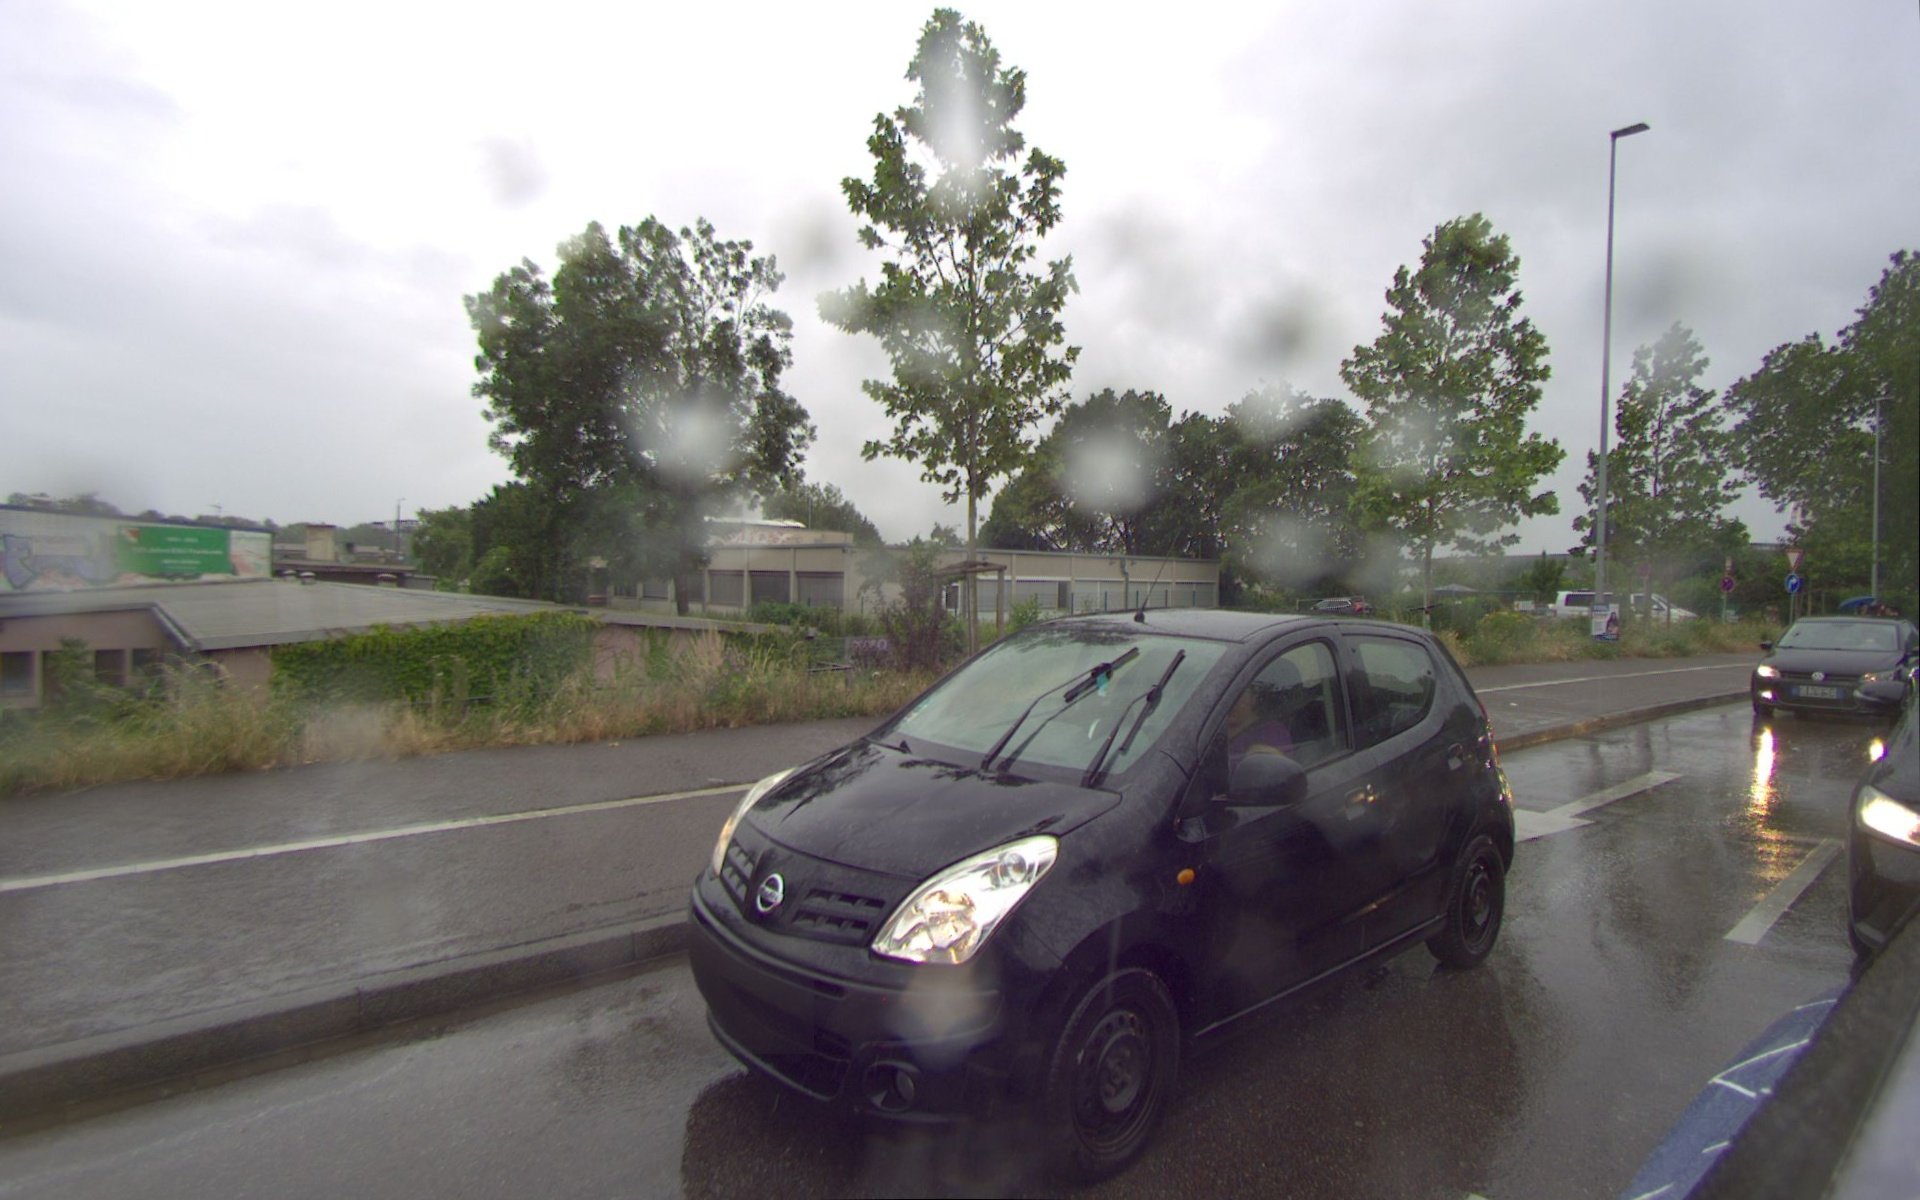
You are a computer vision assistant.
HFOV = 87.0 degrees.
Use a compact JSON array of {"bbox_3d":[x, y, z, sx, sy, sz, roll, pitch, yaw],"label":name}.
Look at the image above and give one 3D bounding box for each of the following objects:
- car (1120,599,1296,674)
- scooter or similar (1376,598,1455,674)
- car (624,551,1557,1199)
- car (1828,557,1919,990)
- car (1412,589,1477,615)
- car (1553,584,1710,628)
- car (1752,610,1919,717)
[{"bbox_3d":[4.697,0.645,19.507,1.319,1.304,3.246,0,0,-35],"label":"car"},{"bbox_3d":[7.679,0.586,17.024,1.877,1.214,0.367,0,0,-38],"label":"scooter or similar"},{"bbox_3d":[0.763,0.662,3.846,3.554,1.528,1.556,0,0,-41],"label":"car"},{"bbox_3d":[5.571,0.667,4.427,4.089,1.601,1.760,1,0,-35],"label":"car"},{"bbox_3d":[30.937,0.107,64.704,1.319,1.604,3.555,0,0,-35],"label":"car"},{"bbox_3d":[28.057,0.236,42.459,1.972,1.747,5.168,0,0,-42],"label":"car"},{"bbox_3d":[12.737,0.814,14.407,3.652,1.326,1.616,1,-1,-41],"label":"car"}]
